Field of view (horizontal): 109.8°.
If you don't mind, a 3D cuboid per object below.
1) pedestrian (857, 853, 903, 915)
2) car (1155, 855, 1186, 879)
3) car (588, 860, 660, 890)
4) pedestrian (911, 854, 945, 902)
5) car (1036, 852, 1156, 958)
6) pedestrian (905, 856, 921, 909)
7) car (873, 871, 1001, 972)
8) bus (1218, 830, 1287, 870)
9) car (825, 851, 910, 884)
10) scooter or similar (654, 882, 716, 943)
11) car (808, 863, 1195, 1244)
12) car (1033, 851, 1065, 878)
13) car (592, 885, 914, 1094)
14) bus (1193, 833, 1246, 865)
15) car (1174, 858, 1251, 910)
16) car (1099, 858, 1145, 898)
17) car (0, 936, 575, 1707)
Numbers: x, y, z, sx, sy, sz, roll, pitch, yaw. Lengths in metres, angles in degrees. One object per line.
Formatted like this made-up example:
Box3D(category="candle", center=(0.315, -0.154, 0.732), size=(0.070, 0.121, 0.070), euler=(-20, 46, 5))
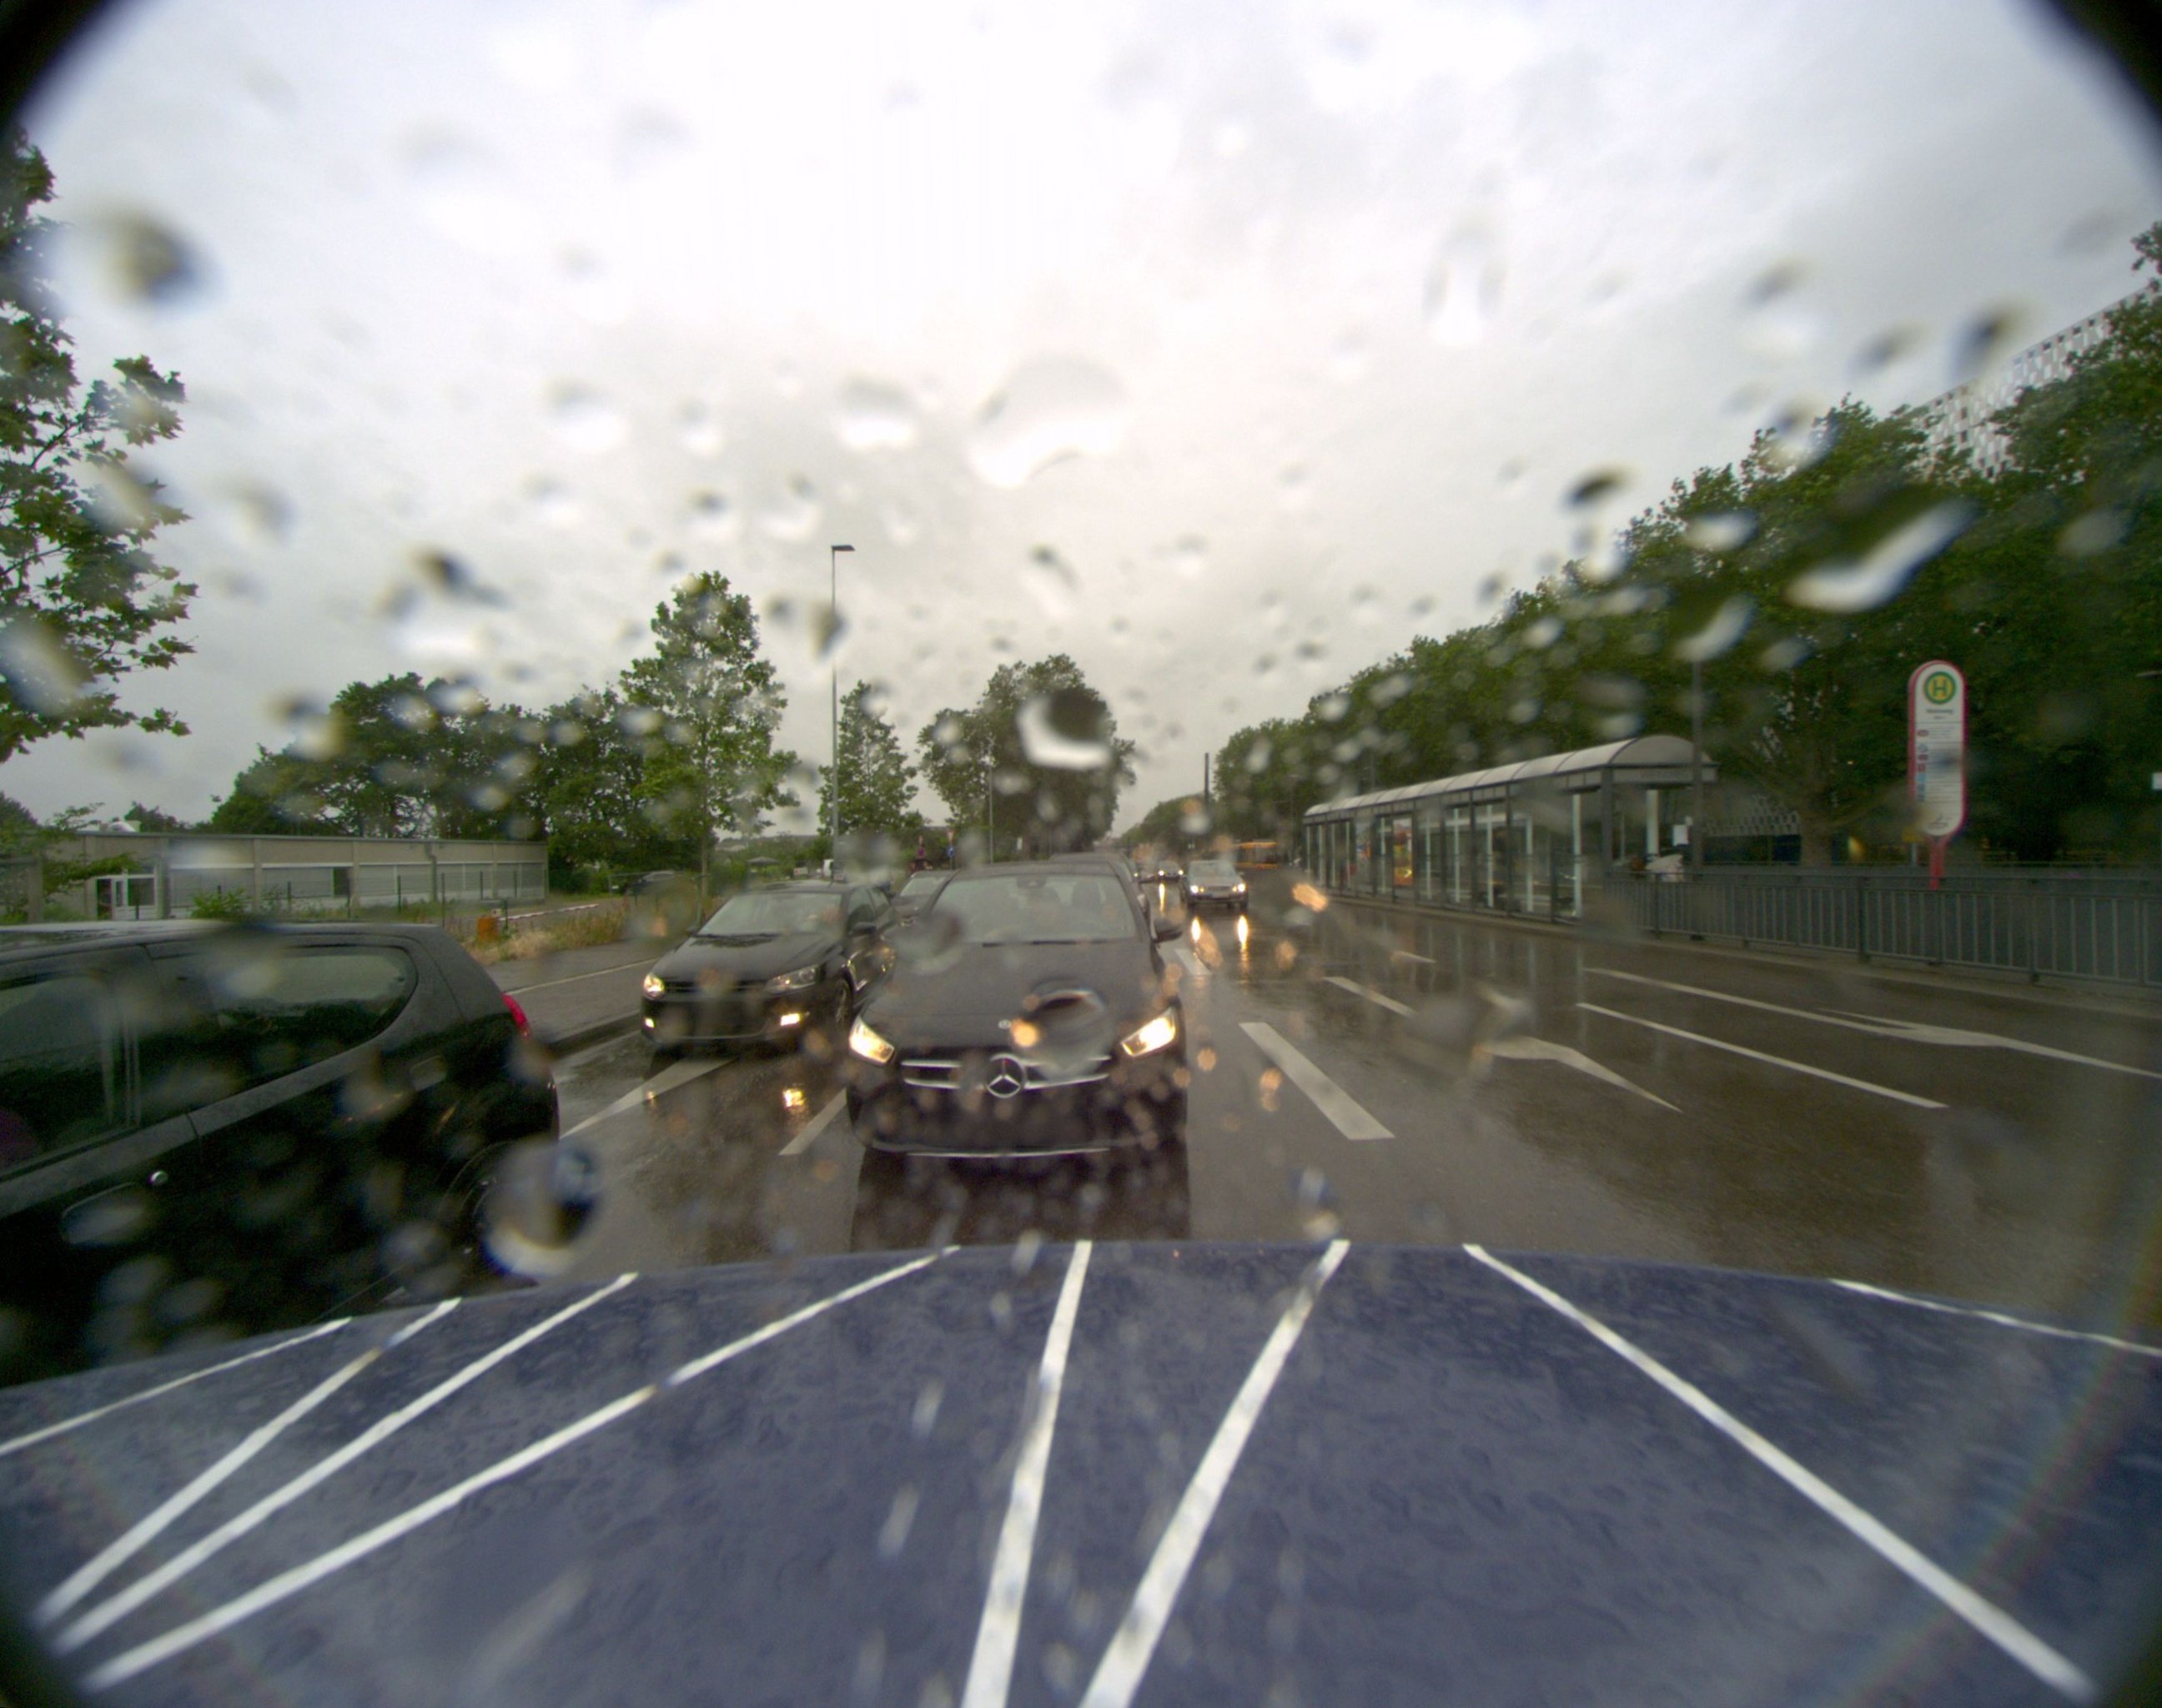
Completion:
Box3D(category="pedestrian", center=(-5.851, 0.864, 22.183), size=(1.082, 1.746, 0.969), euler=(0, 1, 0))
Box3D(category="car", center=(6.235, 0.892, 53.443), size=(1.775, 1.492, 4.597), euler=(-2, 1, 2))
Box3D(category="car", center=(-33.958, 1.518, 56.530), size=(3.996, 2.002, 2.000), euler=(-2, 1, 2))
Box3D(category="pedestrian", center=(-5.554, 0.849, 27.600), size=(1.025, 1.698, 0.891), euler=(1, 1, 0))
Box3D(category="car", center=(0.209, 0.726, 12.478), size=(1.633, 1.420, 3.624), euler=(-2, 0, 0))
Box3D(category="pedestrian", center=(-5.360, 0.900, 24.213), size=(0.401, 1.652, 0.441), euler=(1, 1, 0))
Box3D(category="car", center=(-2.700, 1.212, 15.086), size=(1.698, 1.565, 3.813), euler=(-2, 1, 1))
Box3D(category="bus", center=(16.202, -0.407, 73.291), size=(2.939, 3.310, 15.060), euler=(-2, 1, -1))
Box3D(category="car", center=(-13.488, 0.841, 48.220), size=(4.759, 1.639, 2.000), euler=(-5, 0, -2))
Box3D(category="scooter or similar", center=(-8.205, 1.186, 15.819), size=(0.381, 1.123, 1.777), euler=(0, 1, -1))
Box3D(category="car", center=(-0.328, 0.932, 5.516), size=(1.690, 1.578, 4.163), euler=(-2, 1, 1))
Box3D(category="car", center=(-1.858, 0.596, 45.285), size=(1.703, 1.461, 4.121), euler=(-2, 1, 0))
Box3D(category="car", center=(-2.916, 1.116, 7.658), size=(1.633, 1.420, 3.624), euler=(-2, 0, 0))
Box3D(category="bus", center=(15.896, -0.591, 88.474), size=(2.939, 3.310, 15.059), euler=(-2, 1, -1))
Box3D(category="car", center=(4.052, 0.875, 24.098), size=(1.766, 1.390, 4.645), euler=(-2, 0, 2))
Box3D(category="car", center=(1.826, 1.048, 34.930), size=(1.794, 1.597, 3.999), euler=(-2, 1, 0))
Box3D(category="car", center=(-3.004, 1.083, 1.431), size=(1.633, 1.420, 3.624), euler=(-2, 0, 0))
